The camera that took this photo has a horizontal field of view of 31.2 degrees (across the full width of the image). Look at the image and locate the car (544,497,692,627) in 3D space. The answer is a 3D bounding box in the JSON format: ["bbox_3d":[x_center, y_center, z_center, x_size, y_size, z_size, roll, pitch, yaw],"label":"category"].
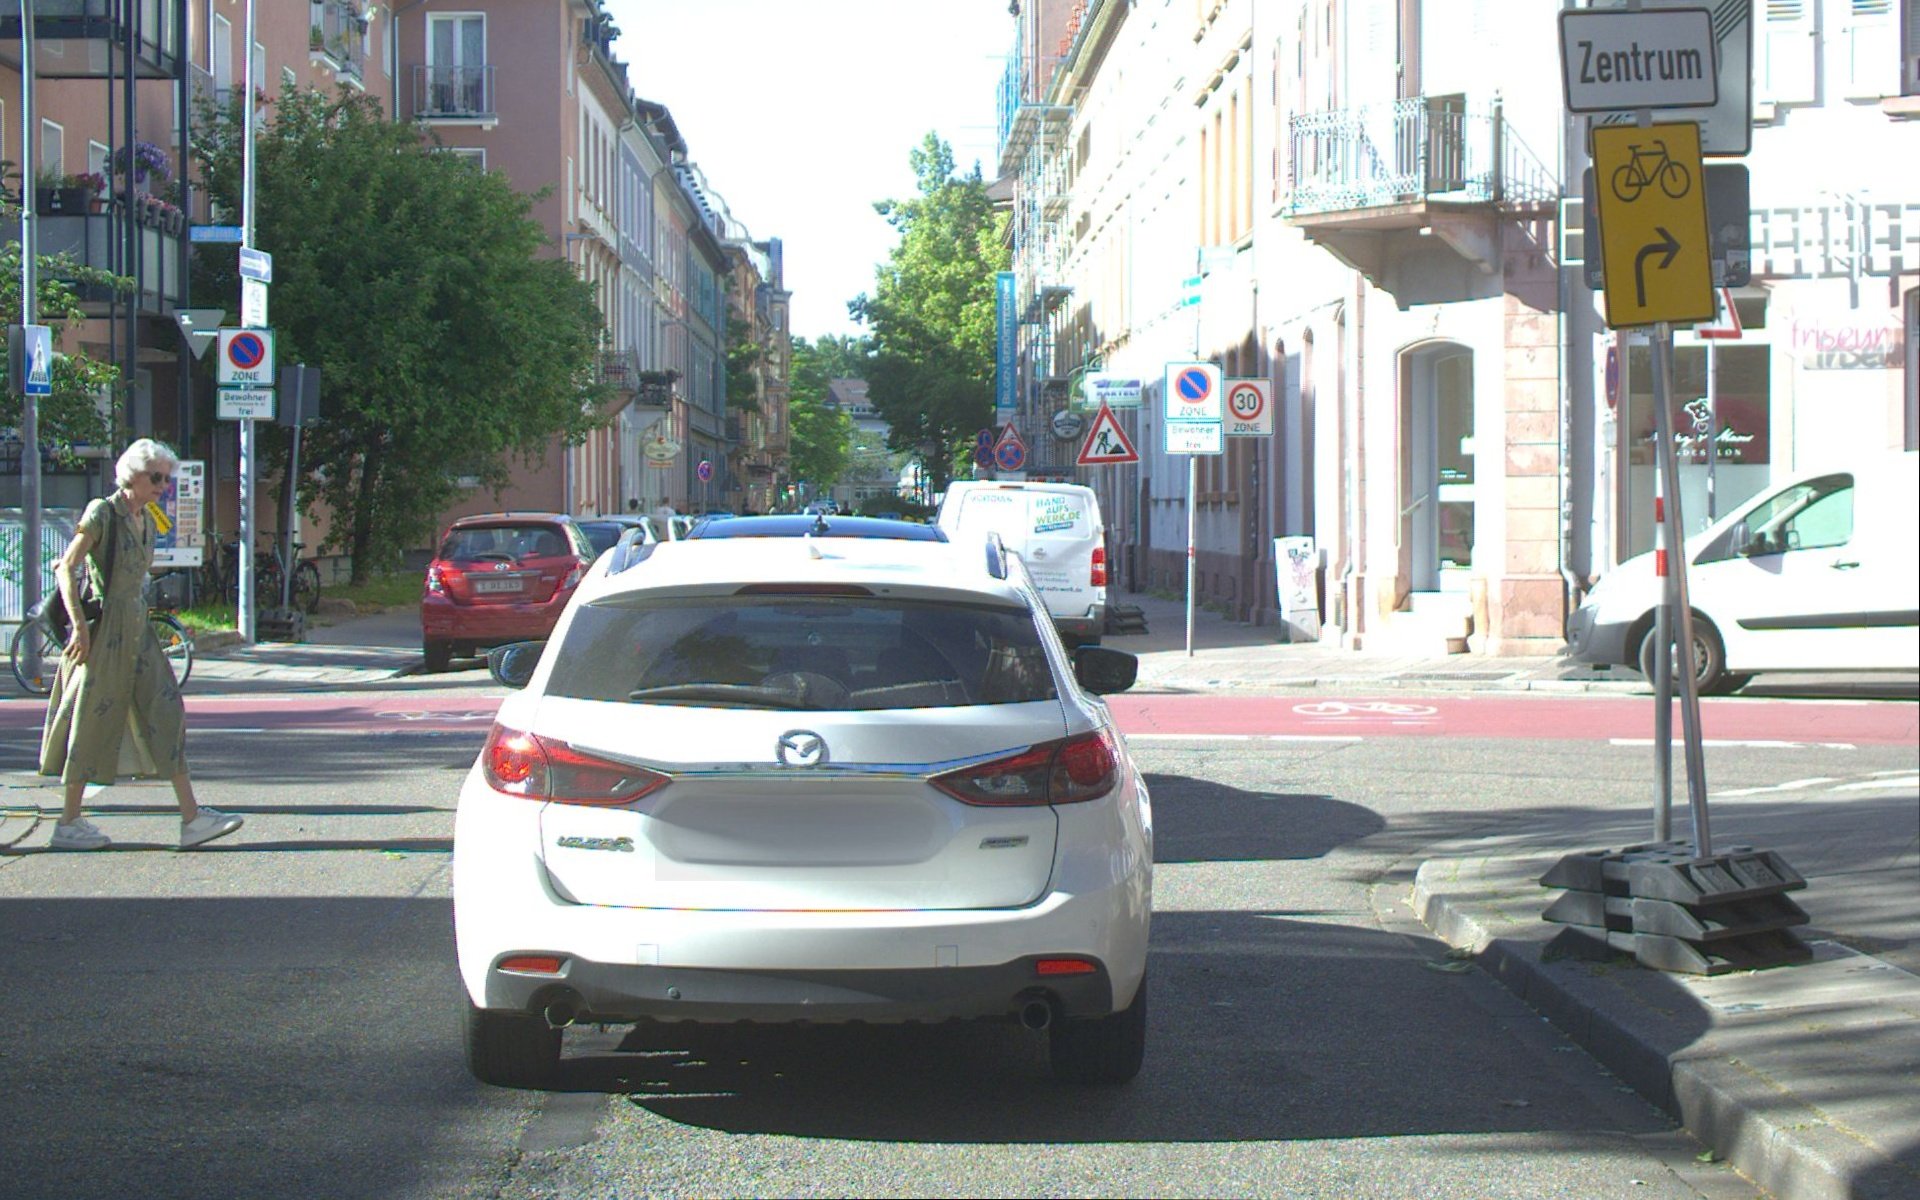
[{"bbox_3d":[-4.530,-0.515,45.954,1.635,1.650,3.785,0,1,-1],"label":"car"}]

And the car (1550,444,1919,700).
[{"bbox_3d":[7.282,-0.206,26.896,4.896,1.922,1.997,1,0,24],"label":"car"}]

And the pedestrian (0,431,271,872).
[{"bbox_3d":[-3.555,0.187,14.727,0.854,1.808,0.814,2,4,27],"label":"pedestrian"}]

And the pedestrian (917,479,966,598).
[{"bbox_3d":[-0.305,-1.001,55.904,0.771,1.912,0.835,0,1,0],"label":"pedestrian"}]

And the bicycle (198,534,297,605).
[{"bbox_3d":[-9.555,-0.414,46.061,0.603,0.929,1.915,-1,1,-34],"label":"bicycle"}]

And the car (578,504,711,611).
[{"bbox_3d":[-4.802,-0.658,52.736,1.720,1.571,3.726,0,1,-1],"label":"car"}]

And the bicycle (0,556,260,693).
[{"bbox_3d":[-6.926,0.190,27.821,2.427,1.076,0.789,0,1,21],"label":"bicycle"}]

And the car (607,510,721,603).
[{"bbox_3d":[-4.854,-0.720,56.748,1.602,1.472,3.567,0,1,-1],"label":"car"}]

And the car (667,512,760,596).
[{"bbox_3d":[-4.786,-0.900,67.059,1.572,1.580,3.611,0,1,-1],"label":"car"}]

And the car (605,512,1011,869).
[{"bbox_3d":[-0.692,0.332,16.161,1.682,1.476,3.661,0,1,-2],"label":"car"}]

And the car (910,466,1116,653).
[{"bbox_3d":[0.532,-0.475,38.125,1.942,1.941,4.079,1,1,-4],"label":"car"}]

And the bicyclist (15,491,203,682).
[{"bbox_3d":[-6.872,-0.114,27.784,1.196,1.511,0.840,0,1,20],"label":"bicyclist"}]

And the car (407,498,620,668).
[{"bbox_3d":[-4.468,-0.218,34.843,1.769,1.583,3.727,0,2,-2],"label":"car"}]

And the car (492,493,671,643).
[{"bbox_3d":[-4.404,-0.396,40.441,1.720,1.677,3.726,0,1,-1],"label":"car"}]

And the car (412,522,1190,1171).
[{"bbox_3d":[-0.437,0.543,10.020,1.823,1.509,3.824,0,1,-2],"label":"car"}]

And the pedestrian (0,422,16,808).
[{"bbox_3d":[-5.014,0.071,16.106,0.966,1.832,0.682,2,3,-1],"label":"pedestrian"}]

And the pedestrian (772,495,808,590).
[{"bbox_3d":[-3.219,-1.089,65.243,0.647,1.791,0.639,0,1,0],"label":"pedestrian"}]

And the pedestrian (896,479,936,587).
[{"bbox_3d":[-0.876,-1.327,68.092,0.771,2.111,0.835,0,1,0],"label":"pedestrian"}]
